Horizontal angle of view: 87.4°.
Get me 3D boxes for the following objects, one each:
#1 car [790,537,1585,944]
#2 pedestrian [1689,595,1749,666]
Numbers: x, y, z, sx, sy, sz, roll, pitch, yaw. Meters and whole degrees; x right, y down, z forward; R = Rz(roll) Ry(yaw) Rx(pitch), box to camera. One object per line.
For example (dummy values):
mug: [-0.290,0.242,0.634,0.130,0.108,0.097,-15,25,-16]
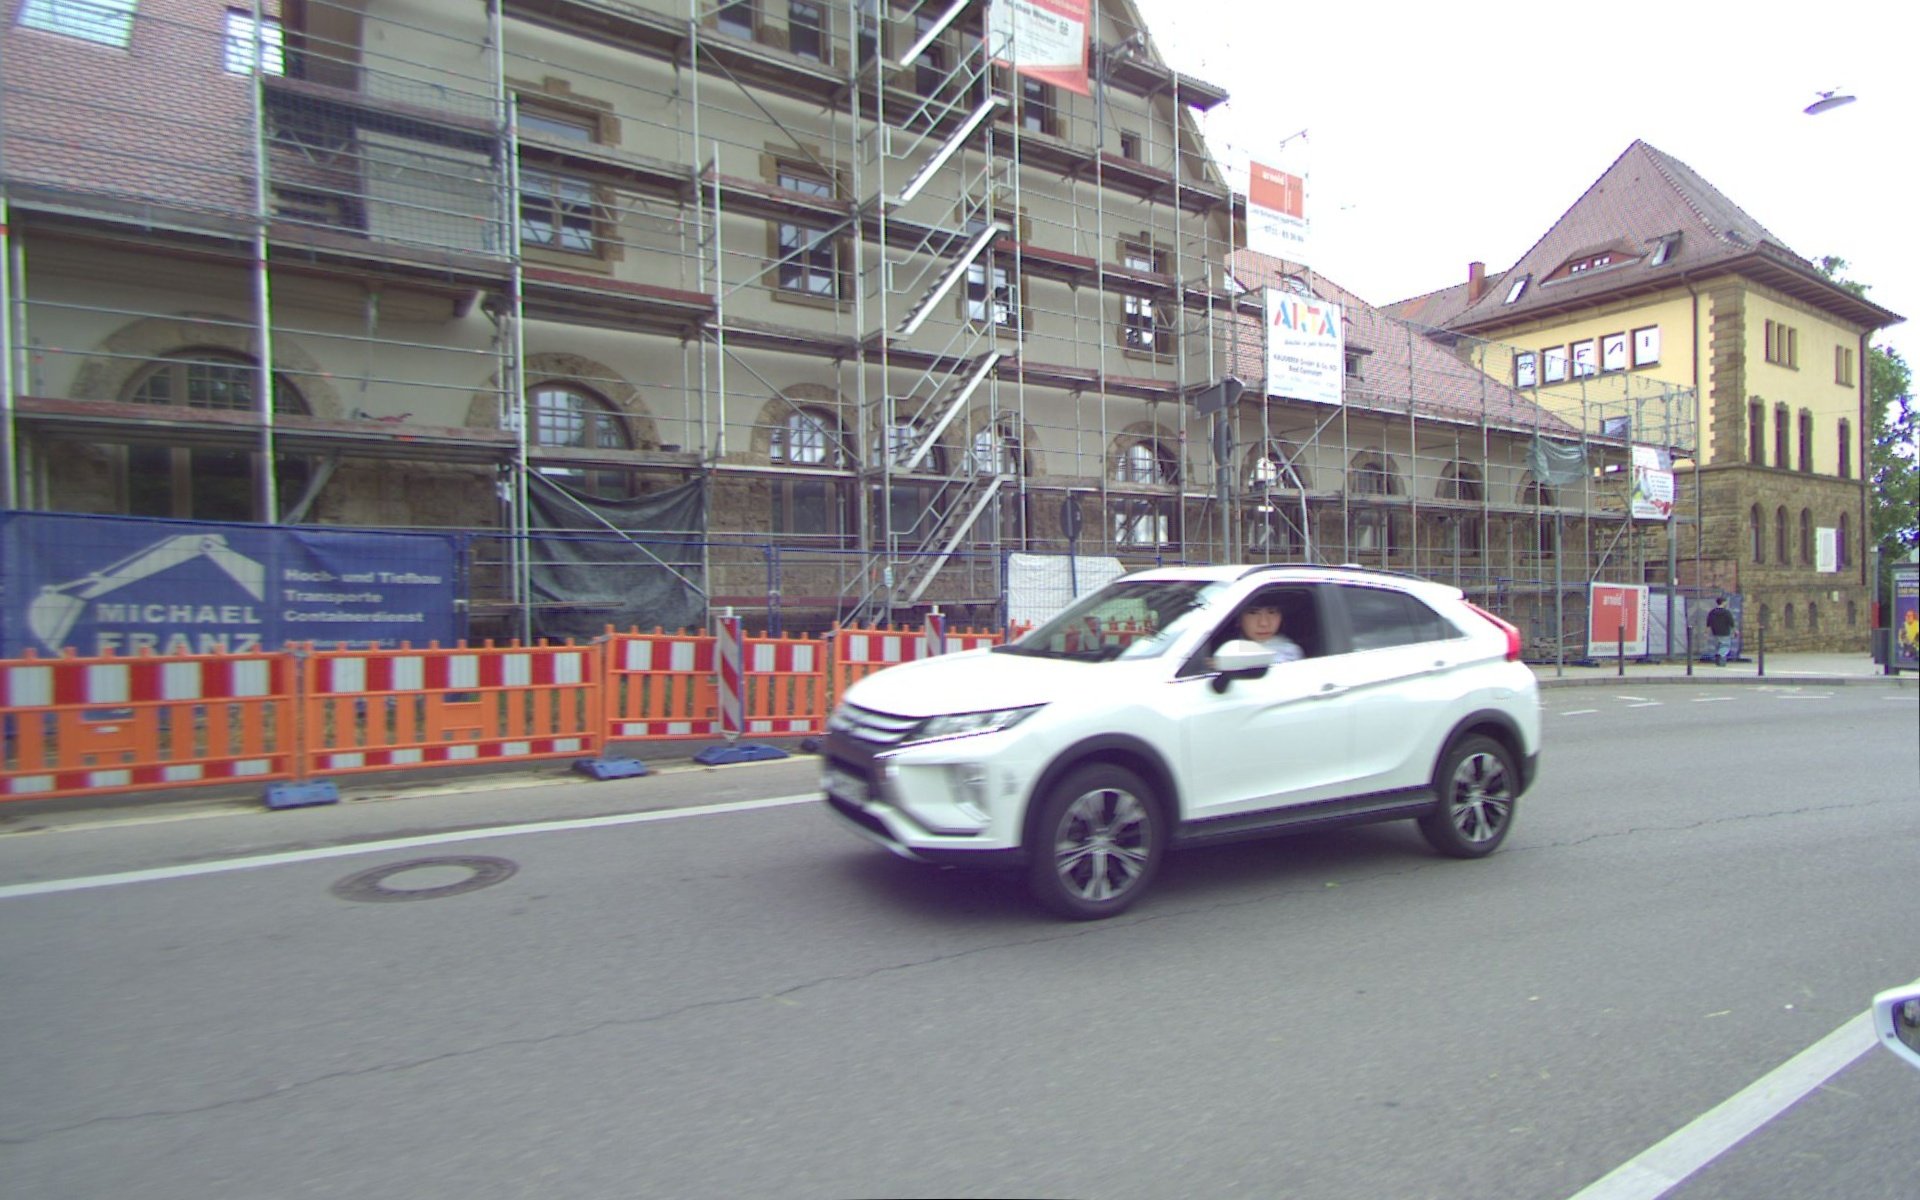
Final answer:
car: [1.421,0.585,5.860,4.450,1.632,1.785,0,0,-27]
pedestrian: [19.408,0.764,25.693,0.789,1.743,0.918,1,1,-30]
